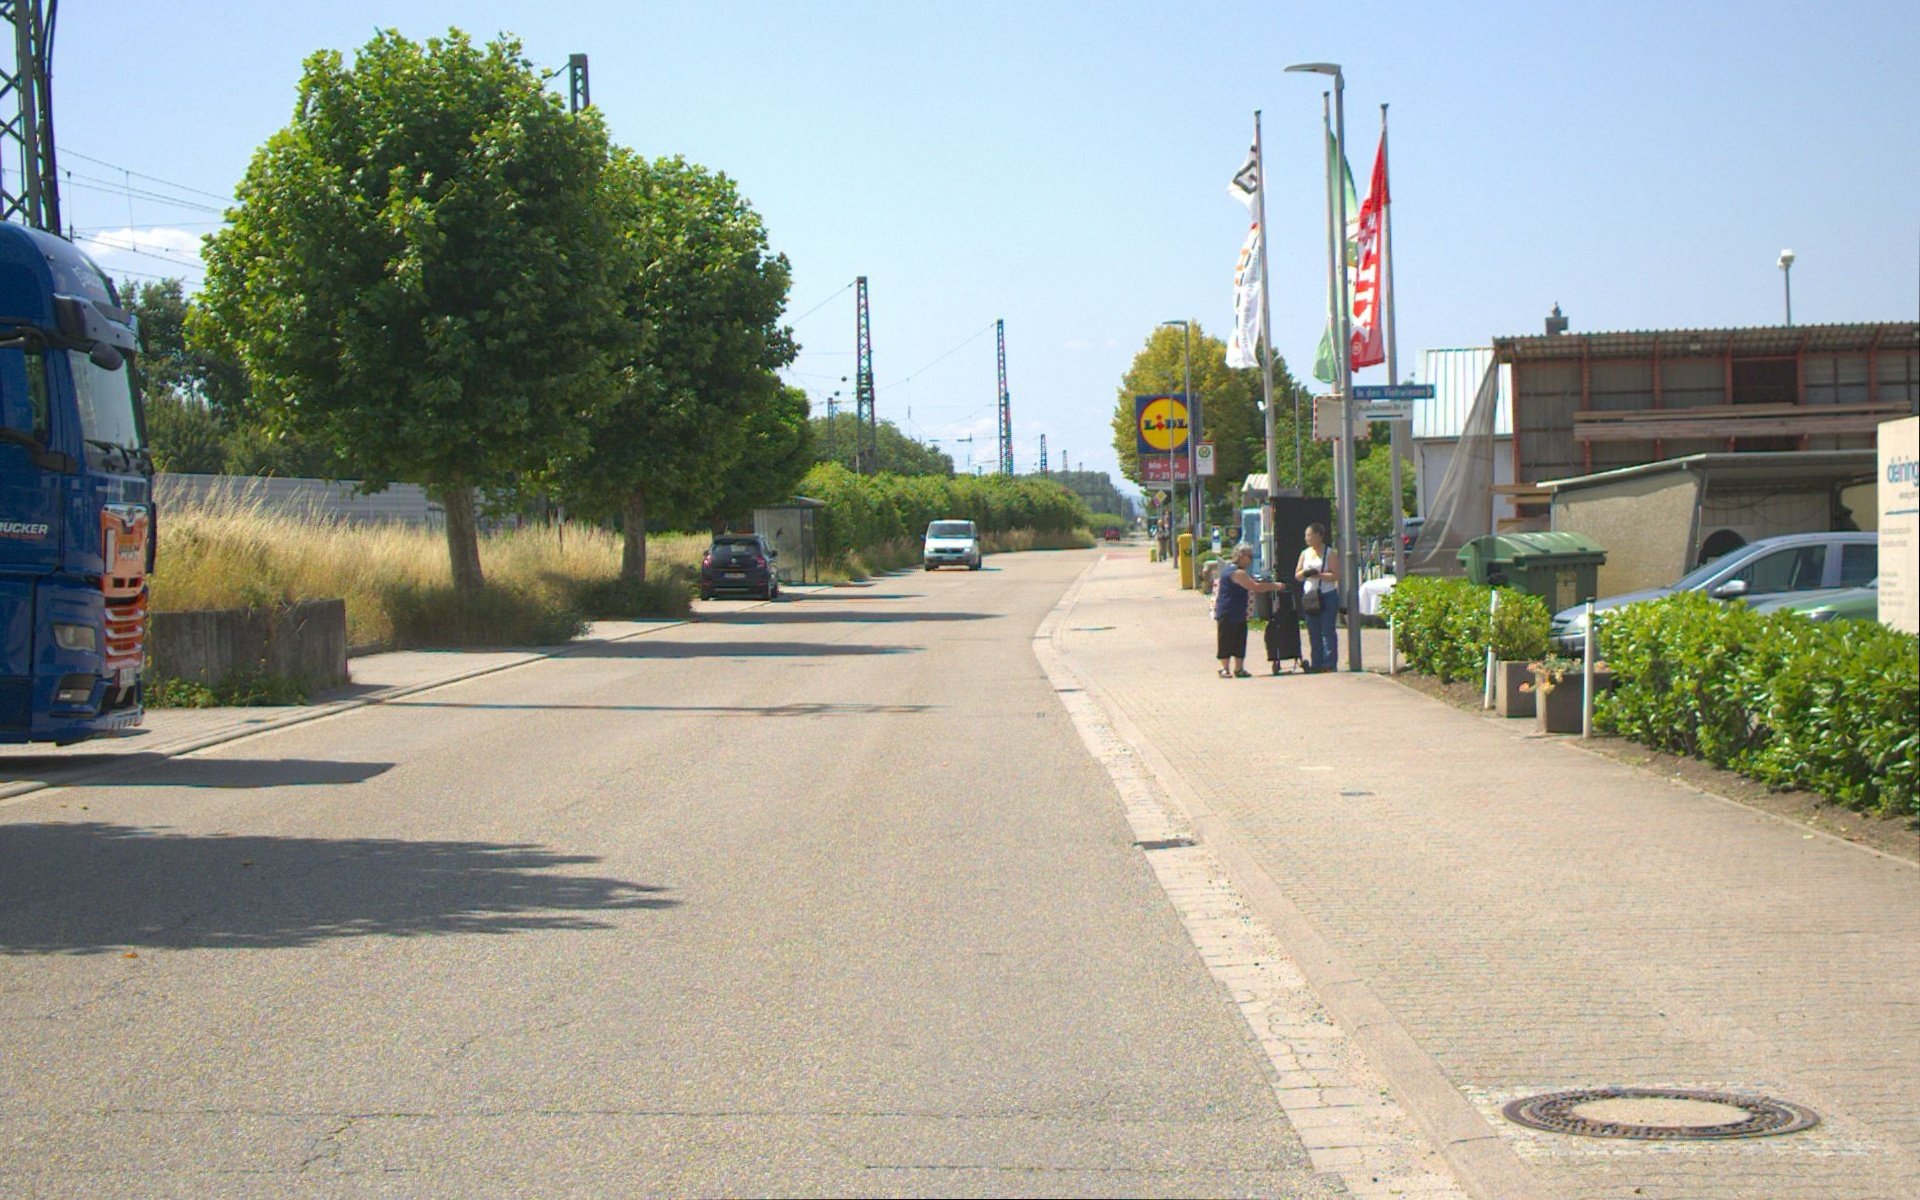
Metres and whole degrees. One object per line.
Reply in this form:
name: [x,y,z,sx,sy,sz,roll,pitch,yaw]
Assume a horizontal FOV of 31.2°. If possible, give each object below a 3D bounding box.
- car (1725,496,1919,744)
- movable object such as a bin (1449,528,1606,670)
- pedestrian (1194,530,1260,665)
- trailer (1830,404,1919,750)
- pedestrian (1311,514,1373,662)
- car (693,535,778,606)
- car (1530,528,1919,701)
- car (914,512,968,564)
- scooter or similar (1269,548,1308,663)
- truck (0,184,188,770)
car: [7.677,0.073,23.985,4.212,1.628,1.801,-2,-1,0]
movable object such as a bin: [5.977,-0.027,36.222,1.263,1.453,1.049,-1,2,-36]
pedestrian: [2.839,-0.022,36.576,0.594,1.400,0.584,-2,-1,0]
trailer: [7.579,-0.227,20.838,3.987,2.007,2.000,-4,-3,1]
pedestrian: [4.047,-0.128,36.422,0.535,1.534,0.511,-2,-1,0]
car: [-5.381,-0.730,82.581,1.741,1.590,3.579,-1,2,1]
car: [7.169,0.109,30.798,3.845,1.450,1.817,-1,1,2]
car: [-0.691,-2.302,126.763,1.838,1.851,4.484,-1,1,2]
scooter or similar: [3.492,0.060,36.529,0.334,1.194,0.398,-2,-1,2]
truck: [-8.942,-0.788,23.686,6.613,3.810,2.664,-1,1,-1]
